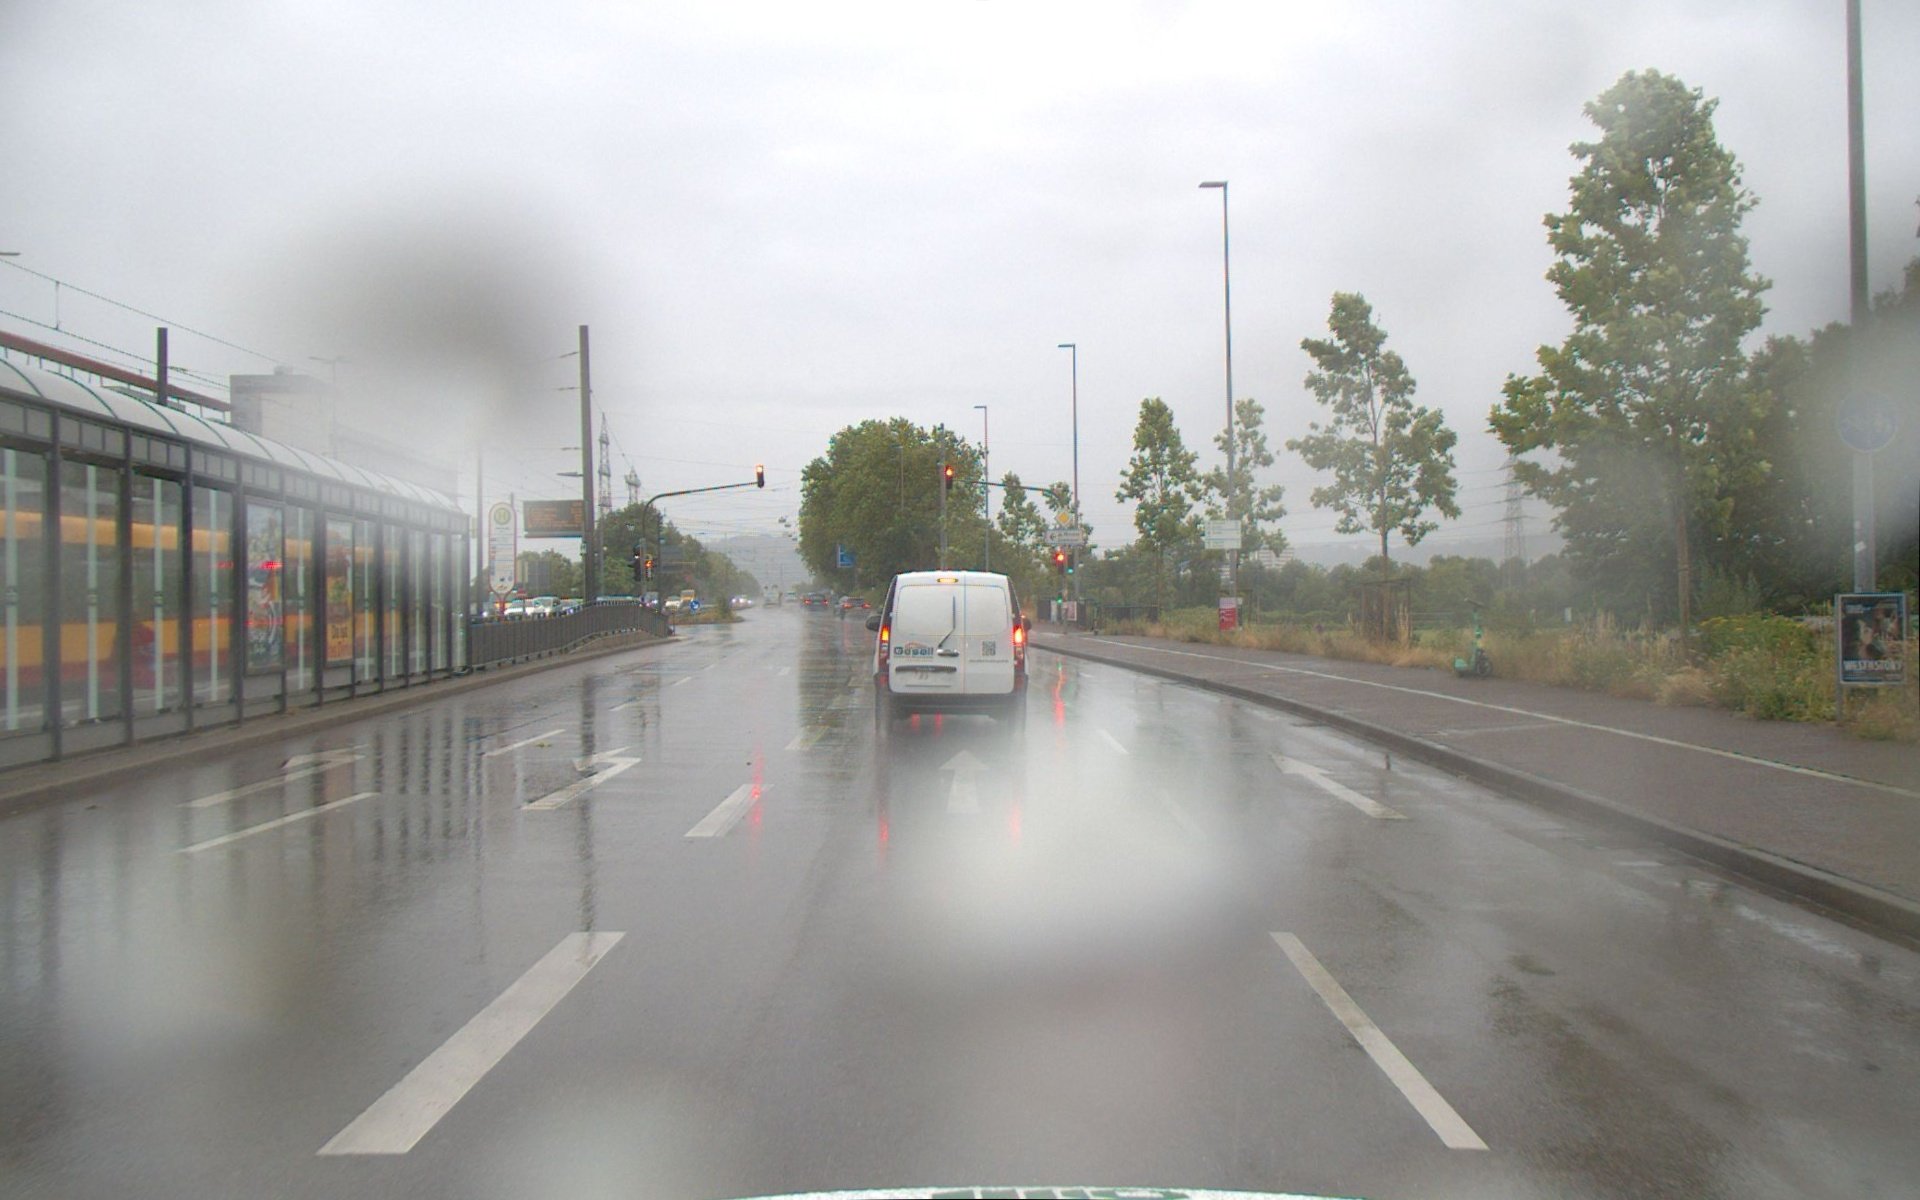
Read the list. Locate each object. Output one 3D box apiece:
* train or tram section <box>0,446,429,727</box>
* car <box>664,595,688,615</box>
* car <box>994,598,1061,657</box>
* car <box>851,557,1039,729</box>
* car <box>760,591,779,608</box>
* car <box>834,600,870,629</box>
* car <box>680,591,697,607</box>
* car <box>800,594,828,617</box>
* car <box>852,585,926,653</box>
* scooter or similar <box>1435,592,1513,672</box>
[{"bbox_3d":[-16.619,-0.219,35.194,3.696,4.107,27.070,1,0,-4],"label":"train or tram section"},{"bbox_3d":[-31.295,0.544,182.354,1.953,2.049,4.000,1,0,0],"label":"car"},{"bbox_3d":[2.116,0.860,52.897,1.953,1.780,4.000,1,0,0],"label":"car"},{"bbox_3d":[-0.264,0.463,19.864,1.984,1.806,4.271,1,0,-3],"label":"car"},{"bbox_3d":[-20.749,-0.033,180.167,1.956,1.780,3.992,1,0,-8],"label":"car"},{"bbox_3d":[-6.837,0.884,104.116,1.956,1.780,3.992,1,0,-8],"label":"car"},{"bbox_3d":[-37.427,-0.128,228.216,1.954,2.049,3.997,1,0,-4],"label":"car"},{"bbox_3d":[-11.578,0.441,130.796,1.956,1.780,3.992,1,0,-8],"label":"car"},{"bbox_3d":[-1.954,0.514,45.933,1.953,1.780,3.998,1,0,-2],"label":"car"},{"bbox_3d":[8.067,0.486,26.012,0.630,1.216,1.561,-1,0,-5],"label":"scooter or similar"}]
